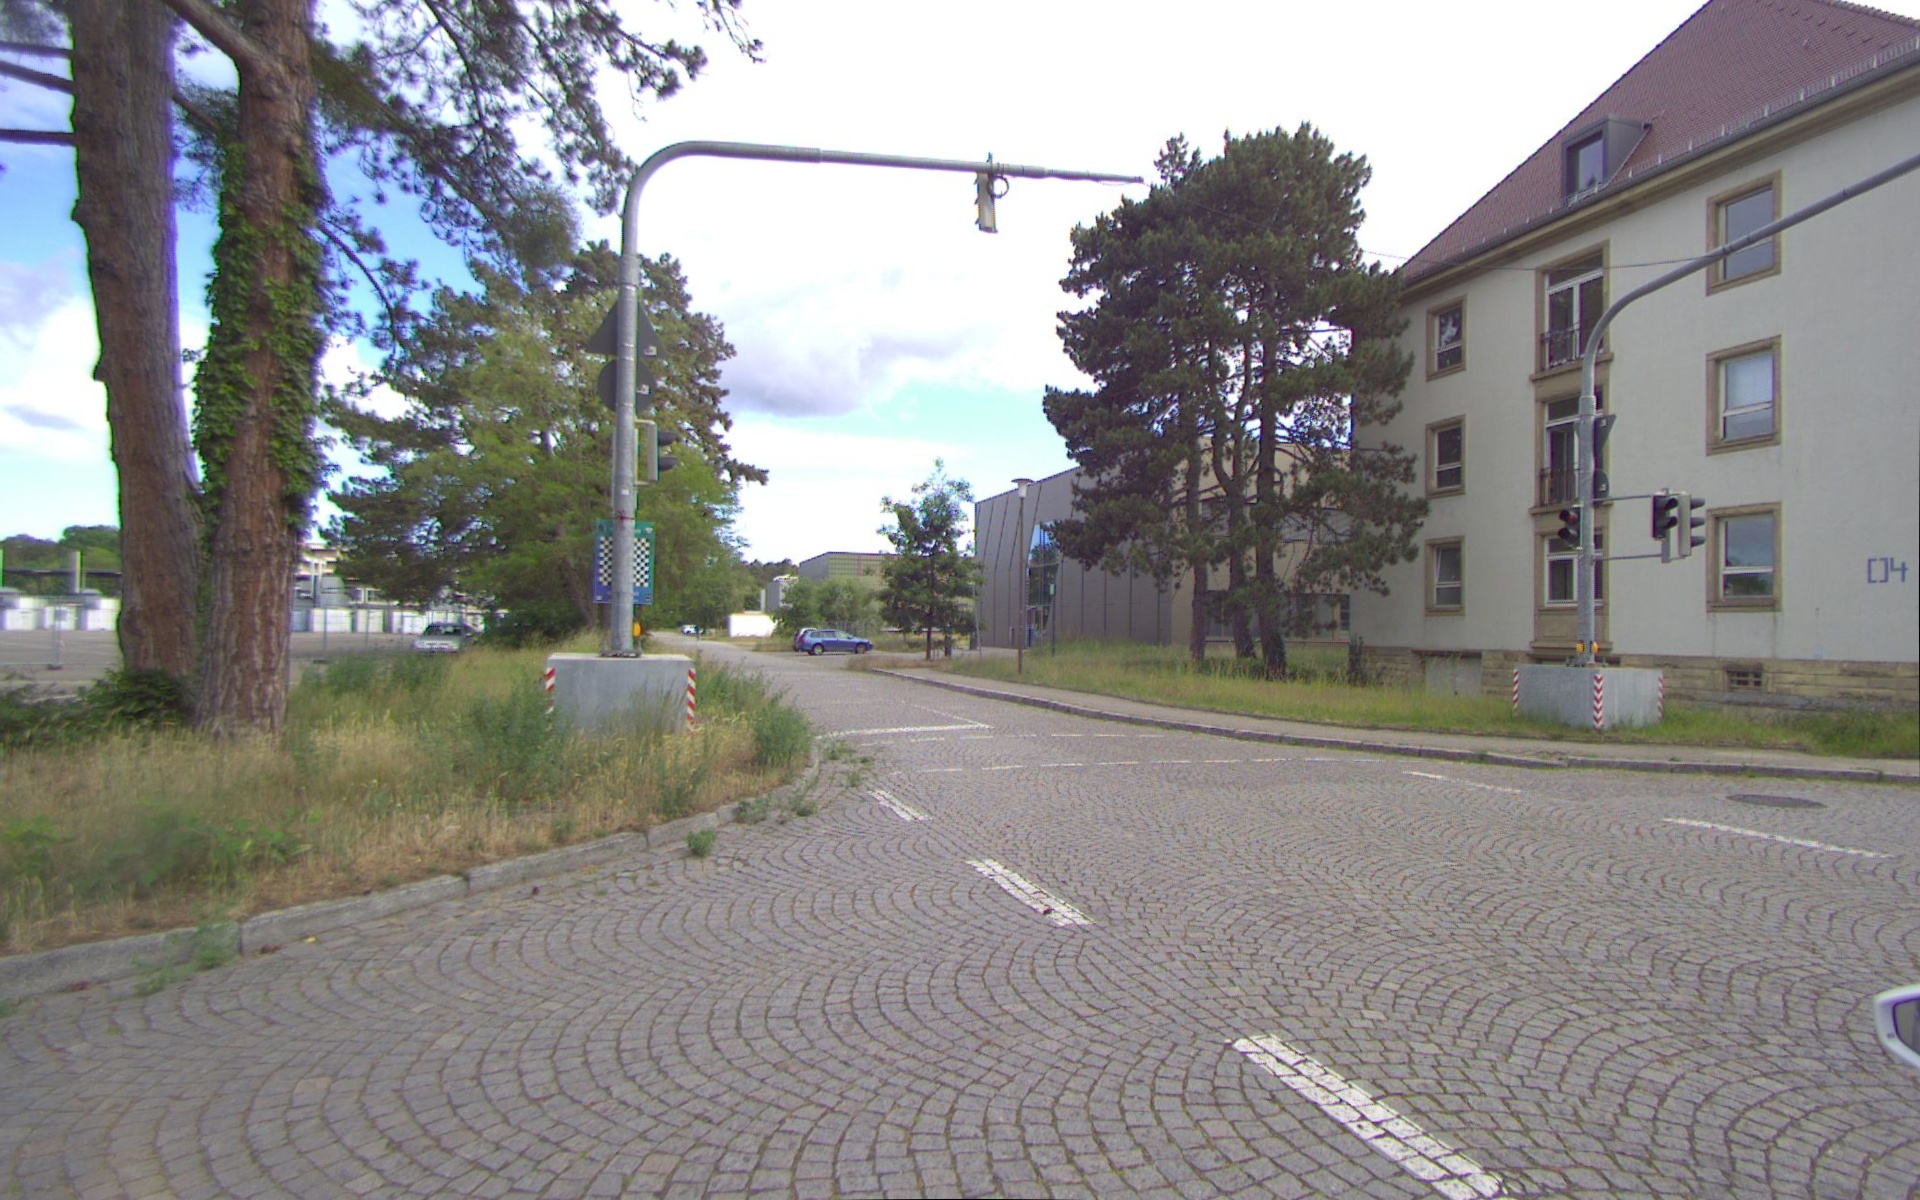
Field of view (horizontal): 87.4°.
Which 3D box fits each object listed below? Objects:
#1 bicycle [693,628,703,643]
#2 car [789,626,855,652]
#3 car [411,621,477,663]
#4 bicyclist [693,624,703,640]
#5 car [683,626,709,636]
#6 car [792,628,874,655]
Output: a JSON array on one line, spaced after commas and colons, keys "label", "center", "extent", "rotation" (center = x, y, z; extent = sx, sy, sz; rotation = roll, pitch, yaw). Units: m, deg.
[{"label": "bicycle", "center": [-26.592, 3.606, 101.938], "extent": [0.814, 1.395, 2.033], "rotation": [2, -1, -19]}, {"label": "car", "center": [-9.140, 2.552, 66.577], "extent": [4.059, 1.593, 1.756], "rotation": [0, -1, -21]}, {"label": "car", "center": [-20.159, 1.610, 39.380], "extent": [1.709, 1.451, 4.143], "rotation": [1, -1, -19]}, {"label": "bicyclist", "center": [-26.590, 3.272, 101.924], "extent": [0.887, 1.562, 0.864], "rotation": [2, 0, -20]}, {"label": "car", "center": [-45.372, 5.338, 172.426], "extent": [4.267, 1.570, 1.993], "rotation": [1, -2, -18]}, {"label": "car", "center": [-7.503, 2.432, 59.290], "extent": [4.428, 1.482, 1.925], "rotation": [0, -1, -21]}]
